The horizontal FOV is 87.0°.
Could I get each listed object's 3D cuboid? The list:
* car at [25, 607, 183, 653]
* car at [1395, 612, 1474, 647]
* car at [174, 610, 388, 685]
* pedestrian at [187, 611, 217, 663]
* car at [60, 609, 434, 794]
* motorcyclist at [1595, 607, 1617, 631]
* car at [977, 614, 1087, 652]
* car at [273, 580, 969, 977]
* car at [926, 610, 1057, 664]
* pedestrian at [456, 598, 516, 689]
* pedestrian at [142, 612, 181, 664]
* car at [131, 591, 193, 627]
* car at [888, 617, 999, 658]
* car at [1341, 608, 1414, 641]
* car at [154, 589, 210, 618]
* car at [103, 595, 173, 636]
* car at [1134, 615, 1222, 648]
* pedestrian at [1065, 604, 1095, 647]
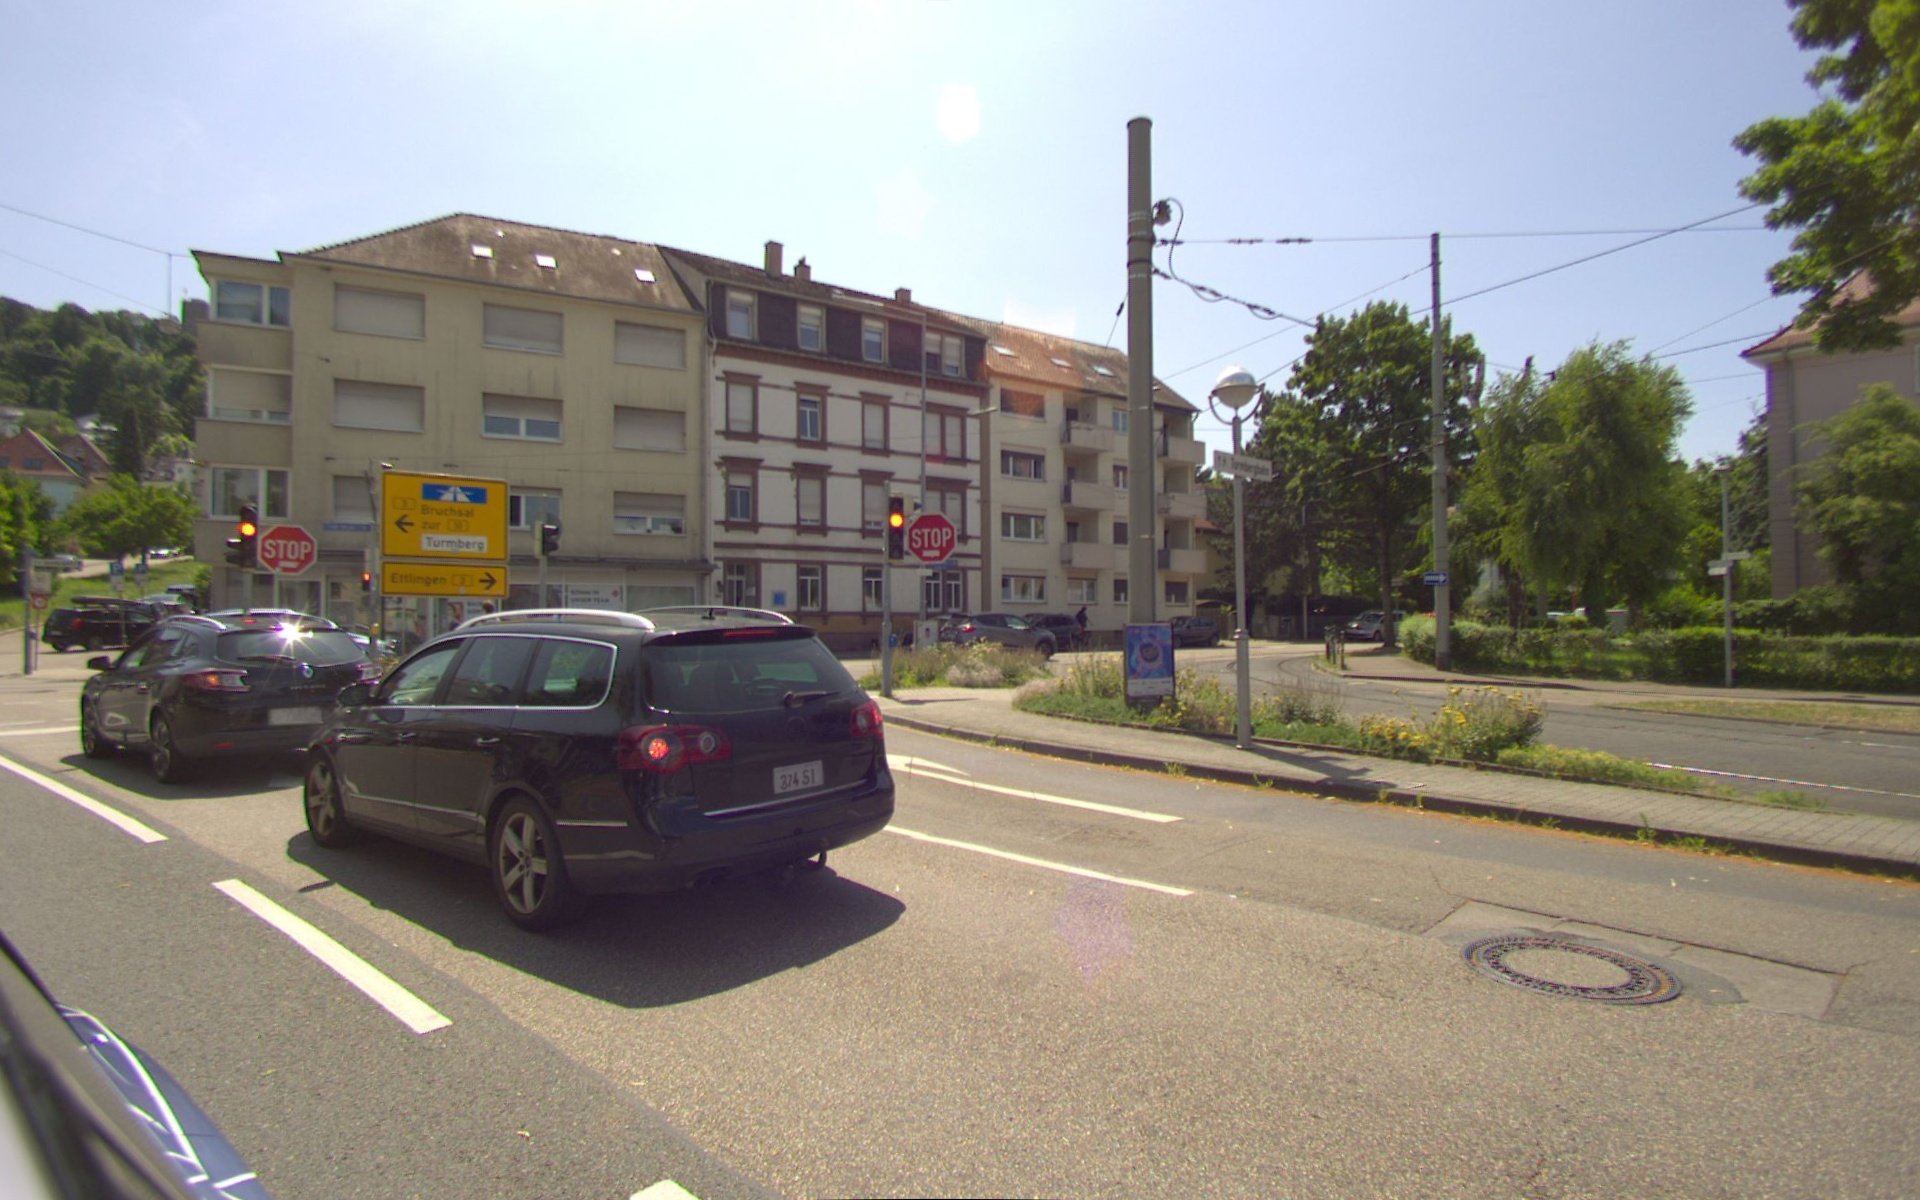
[{"bbox_3d":[-32.437,1.120,38.520,1.980,1.676,4.312,-1,-1,12],"label":"car"},{"bbox_3d":[22.678,1.372,48.338,3.972,1.569,1.808,0,-1,-38],"label":"car"},{"bbox_3d":[-15.378,1.029,23.153,3.932,1.580,1.765,0,-1,-31],"label":"car"},{"bbox_3d":[-24.783,1.201,33.093,0.637,1.645,0.690,0,-1,-24],"label":"pedestrian"},{"bbox_3d":[-7.439,0.870,10.402,4.420,1.511,1.974,-1,-1,38],"label":"car"},{"bbox_3d":[38.399,1.125,60.177,1.002,1.456,0.715,0,-1,-32],"label":"motorcyclist"},{"bbox_3d":[3.030,1.362,42.201,4.310,1.521,2.005,1,-2,-36],"label":"car"},{"bbox_3d":[-2.298,0.734,6.146,4.508,1.531,1.973,-1,-1,40],"label":"car"},{"bbox_3d":[1.045,1.147,32.703,3.933,1.644,1.764,0,-1,-34],"label":"car"},{"bbox_3d":[-9.170,0.822,19.586,0.837,1.718,0.753,-1,-2,38],"label":"pedestrian"},{"bbox_3d":[-25.802,1.228,32.712,0.808,1.645,0.807,0,-1,-24],"label":"pedestrian"},{"bbox_3d":[-40.470,0.425,51.404,1.778,1.562,4.014,0,3,-28],"label":"car"},{"bbox_3d":[-0.624,1.443,39.745,3.936,1.530,2.004,2,-1,-39],"label":"car"},{"bbox_3d":[23.437,1.362,56.785,3.969,1.730,1.810,0,2,-34],"label":"car"},{"bbox_3d":[-42.892,0.169,55.871,1.778,1.398,4.014,0,3,-28],"label":"car"},{"bbox_3d":[-38.007,0.680,46.873,1.778,1.628,4.014,0,3,-28],"label":"car"},{"bbox_3d":[10.267,1.458,47.587,3.935,1.521,2.004,1,-2,-38],"label":"car"},{"bbox_3d":[5.455,1.155,46.086,0.961,1.946,0.940,1,-2,-37],"label":"pedestrian"}]
